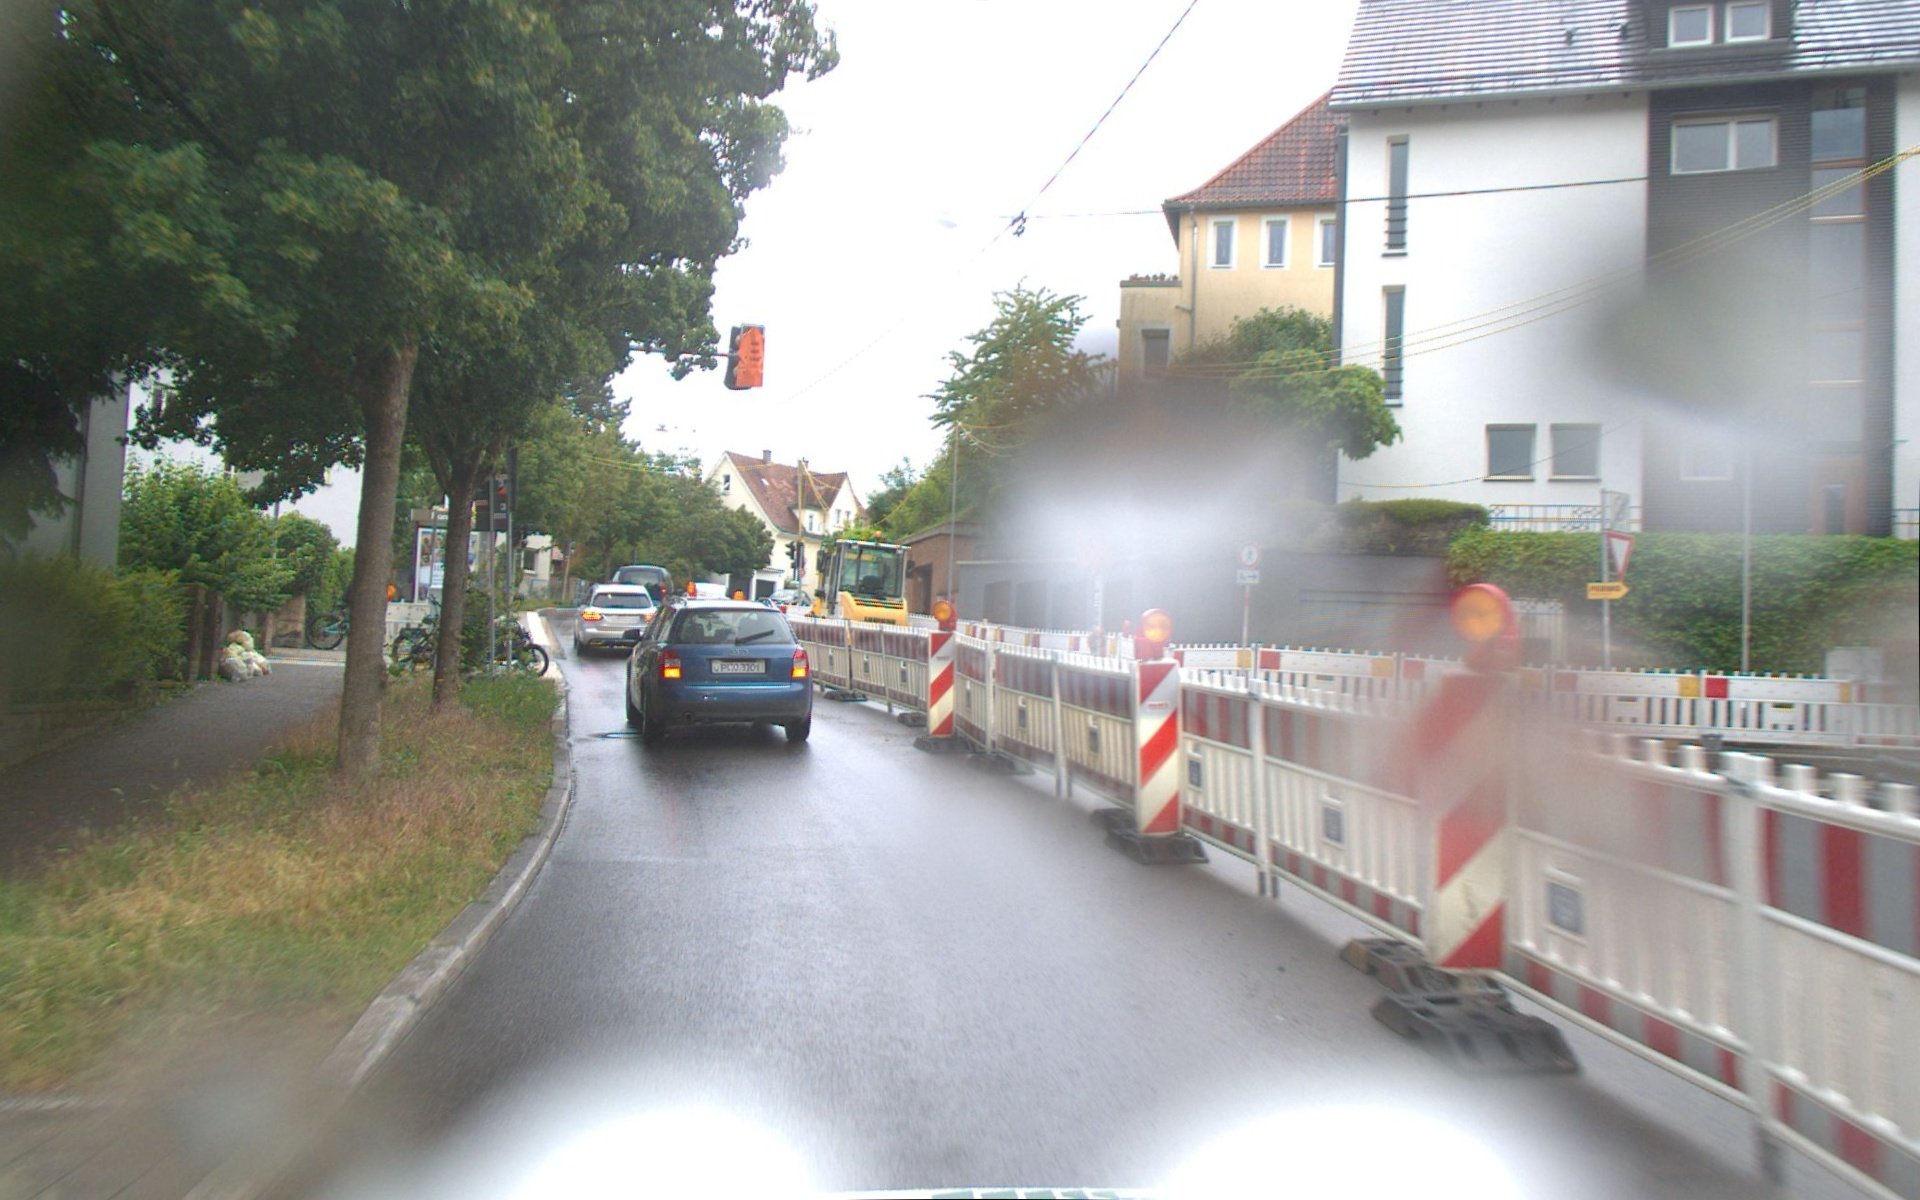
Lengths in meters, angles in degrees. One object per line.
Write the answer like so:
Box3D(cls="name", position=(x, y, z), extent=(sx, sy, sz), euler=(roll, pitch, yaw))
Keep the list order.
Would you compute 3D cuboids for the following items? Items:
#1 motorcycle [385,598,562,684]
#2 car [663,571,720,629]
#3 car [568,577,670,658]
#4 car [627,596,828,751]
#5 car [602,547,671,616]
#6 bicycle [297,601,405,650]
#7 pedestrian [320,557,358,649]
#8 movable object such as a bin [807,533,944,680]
Box3D(cls="motorcycle", position=(-7.554, 0.643, 25.816), extent=(2.554, 1.255, 0.887), euler=(2, -2, -14))
Box3D(cls="car", position=(-9.811, 0.037, 60.696), extent=(1.956, 2.049, 3.992), euler=(0, -1, -8))
Box3D(cls="car", position=(-7.457, 0.406, 35.900), extent=(1.895, 1.646, 4.301), euler=(0, -1, -16))
Box3D(cls="car", position=(-2.635, 0.741, 17.976), extent=(1.756, 1.467, 3.948), euler=(-1, -1, -14))
Box3D(cls="car", position=(-9.839, -0.519, 50.205), extent=(1.959, 1.825, 3.987), euler=(-1, -3, -12))
Box3D(cls="bicycle", position=(-12.960, 0.536, 35.246), extent=(2.112, 1.020, 0.633), euler=(0, -1, -17))
Box3D(cls="pedestrian", position=(-13.394, 0.067, 35.702), extent=(0.720, 1.978, 0.463), euler=(0, -1, -16))
Box3D(cls="movable object such as a bin", position=(-1.701, 0.063, 31.970), extent=(1.959, 2.659, 3.987), euler=(0, 1, -13))
